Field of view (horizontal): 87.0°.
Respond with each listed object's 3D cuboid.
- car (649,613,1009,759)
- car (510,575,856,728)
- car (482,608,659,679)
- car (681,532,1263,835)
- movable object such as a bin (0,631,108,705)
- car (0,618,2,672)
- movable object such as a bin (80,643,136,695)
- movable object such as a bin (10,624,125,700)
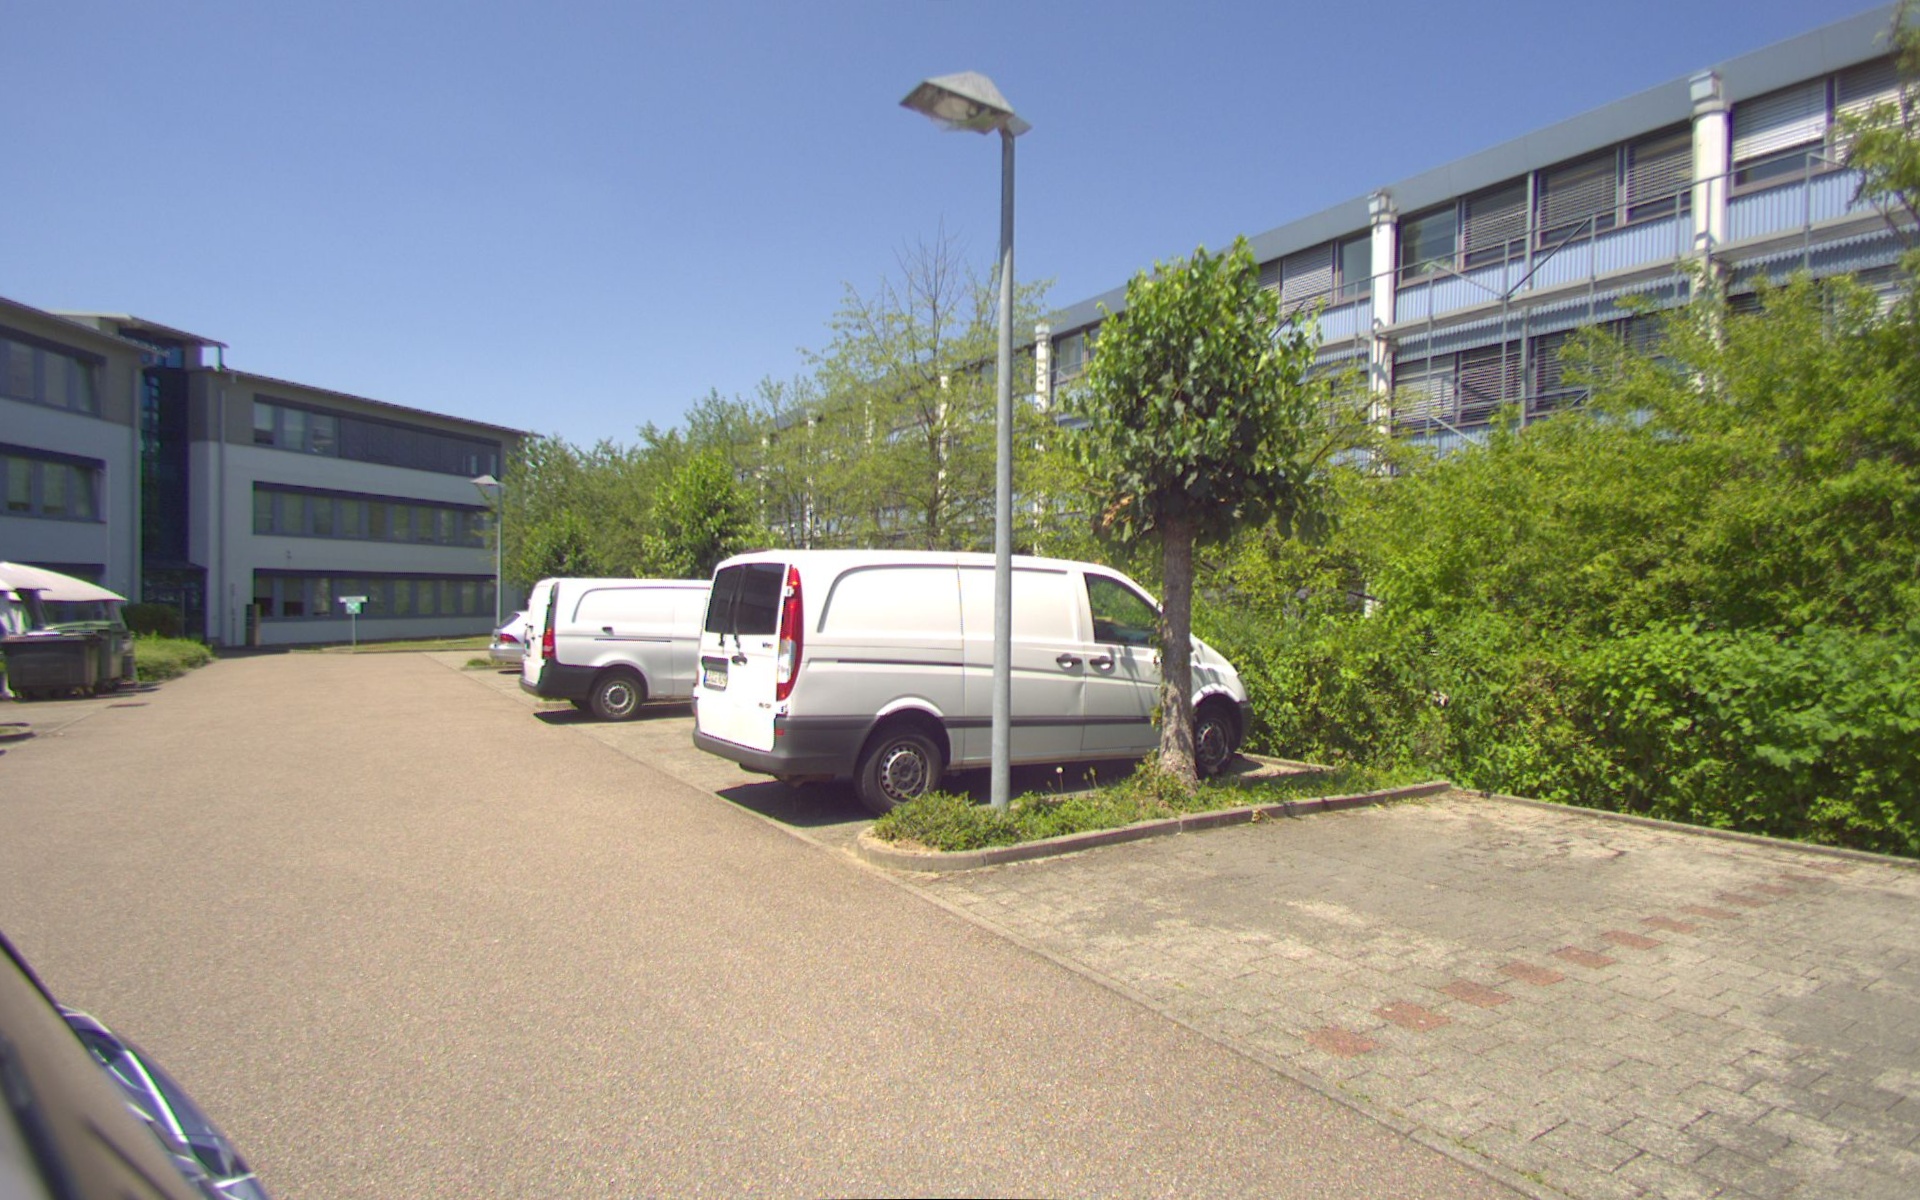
[{"bbox_3d":[-1.430,0.861,11.583,3.787,1.404,1.581,0,-1,-34],"label":"car"},{"bbox_3d":[-3.890,0.651,14.498,4.445,1.896,1.834,0,-1,-34],"label":"car"},{"bbox_3d":[-9.293,0.980,24.221,3.702,1.569,1.665,0,-1,-34],"label":"car"},{"bbox_3d":[0.253,0.541,8.475,4.656,1.920,1.834,0,-1,-34],"label":"car"},{"bbox_3d":[-15.725,1.152,17.478,1.341,1.198,1.000,0,-1,-27],"label":"movable object such as a bin"},{"bbox_3d":[-14.201,0.891,12.067,3.763,1.402,1.656,2,-2,-34],"label":"car"},{"bbox_3d":[-16.385,1.313,19.487,0.679,0.956,0.724,0,-1,-27],"label":"movable object such as a bin"},{"bbox_3d":[-16.206,1.106,18.430,1.341,1.306,1.046,0,-1,-27],"label":"movable object such as a bin"}]
